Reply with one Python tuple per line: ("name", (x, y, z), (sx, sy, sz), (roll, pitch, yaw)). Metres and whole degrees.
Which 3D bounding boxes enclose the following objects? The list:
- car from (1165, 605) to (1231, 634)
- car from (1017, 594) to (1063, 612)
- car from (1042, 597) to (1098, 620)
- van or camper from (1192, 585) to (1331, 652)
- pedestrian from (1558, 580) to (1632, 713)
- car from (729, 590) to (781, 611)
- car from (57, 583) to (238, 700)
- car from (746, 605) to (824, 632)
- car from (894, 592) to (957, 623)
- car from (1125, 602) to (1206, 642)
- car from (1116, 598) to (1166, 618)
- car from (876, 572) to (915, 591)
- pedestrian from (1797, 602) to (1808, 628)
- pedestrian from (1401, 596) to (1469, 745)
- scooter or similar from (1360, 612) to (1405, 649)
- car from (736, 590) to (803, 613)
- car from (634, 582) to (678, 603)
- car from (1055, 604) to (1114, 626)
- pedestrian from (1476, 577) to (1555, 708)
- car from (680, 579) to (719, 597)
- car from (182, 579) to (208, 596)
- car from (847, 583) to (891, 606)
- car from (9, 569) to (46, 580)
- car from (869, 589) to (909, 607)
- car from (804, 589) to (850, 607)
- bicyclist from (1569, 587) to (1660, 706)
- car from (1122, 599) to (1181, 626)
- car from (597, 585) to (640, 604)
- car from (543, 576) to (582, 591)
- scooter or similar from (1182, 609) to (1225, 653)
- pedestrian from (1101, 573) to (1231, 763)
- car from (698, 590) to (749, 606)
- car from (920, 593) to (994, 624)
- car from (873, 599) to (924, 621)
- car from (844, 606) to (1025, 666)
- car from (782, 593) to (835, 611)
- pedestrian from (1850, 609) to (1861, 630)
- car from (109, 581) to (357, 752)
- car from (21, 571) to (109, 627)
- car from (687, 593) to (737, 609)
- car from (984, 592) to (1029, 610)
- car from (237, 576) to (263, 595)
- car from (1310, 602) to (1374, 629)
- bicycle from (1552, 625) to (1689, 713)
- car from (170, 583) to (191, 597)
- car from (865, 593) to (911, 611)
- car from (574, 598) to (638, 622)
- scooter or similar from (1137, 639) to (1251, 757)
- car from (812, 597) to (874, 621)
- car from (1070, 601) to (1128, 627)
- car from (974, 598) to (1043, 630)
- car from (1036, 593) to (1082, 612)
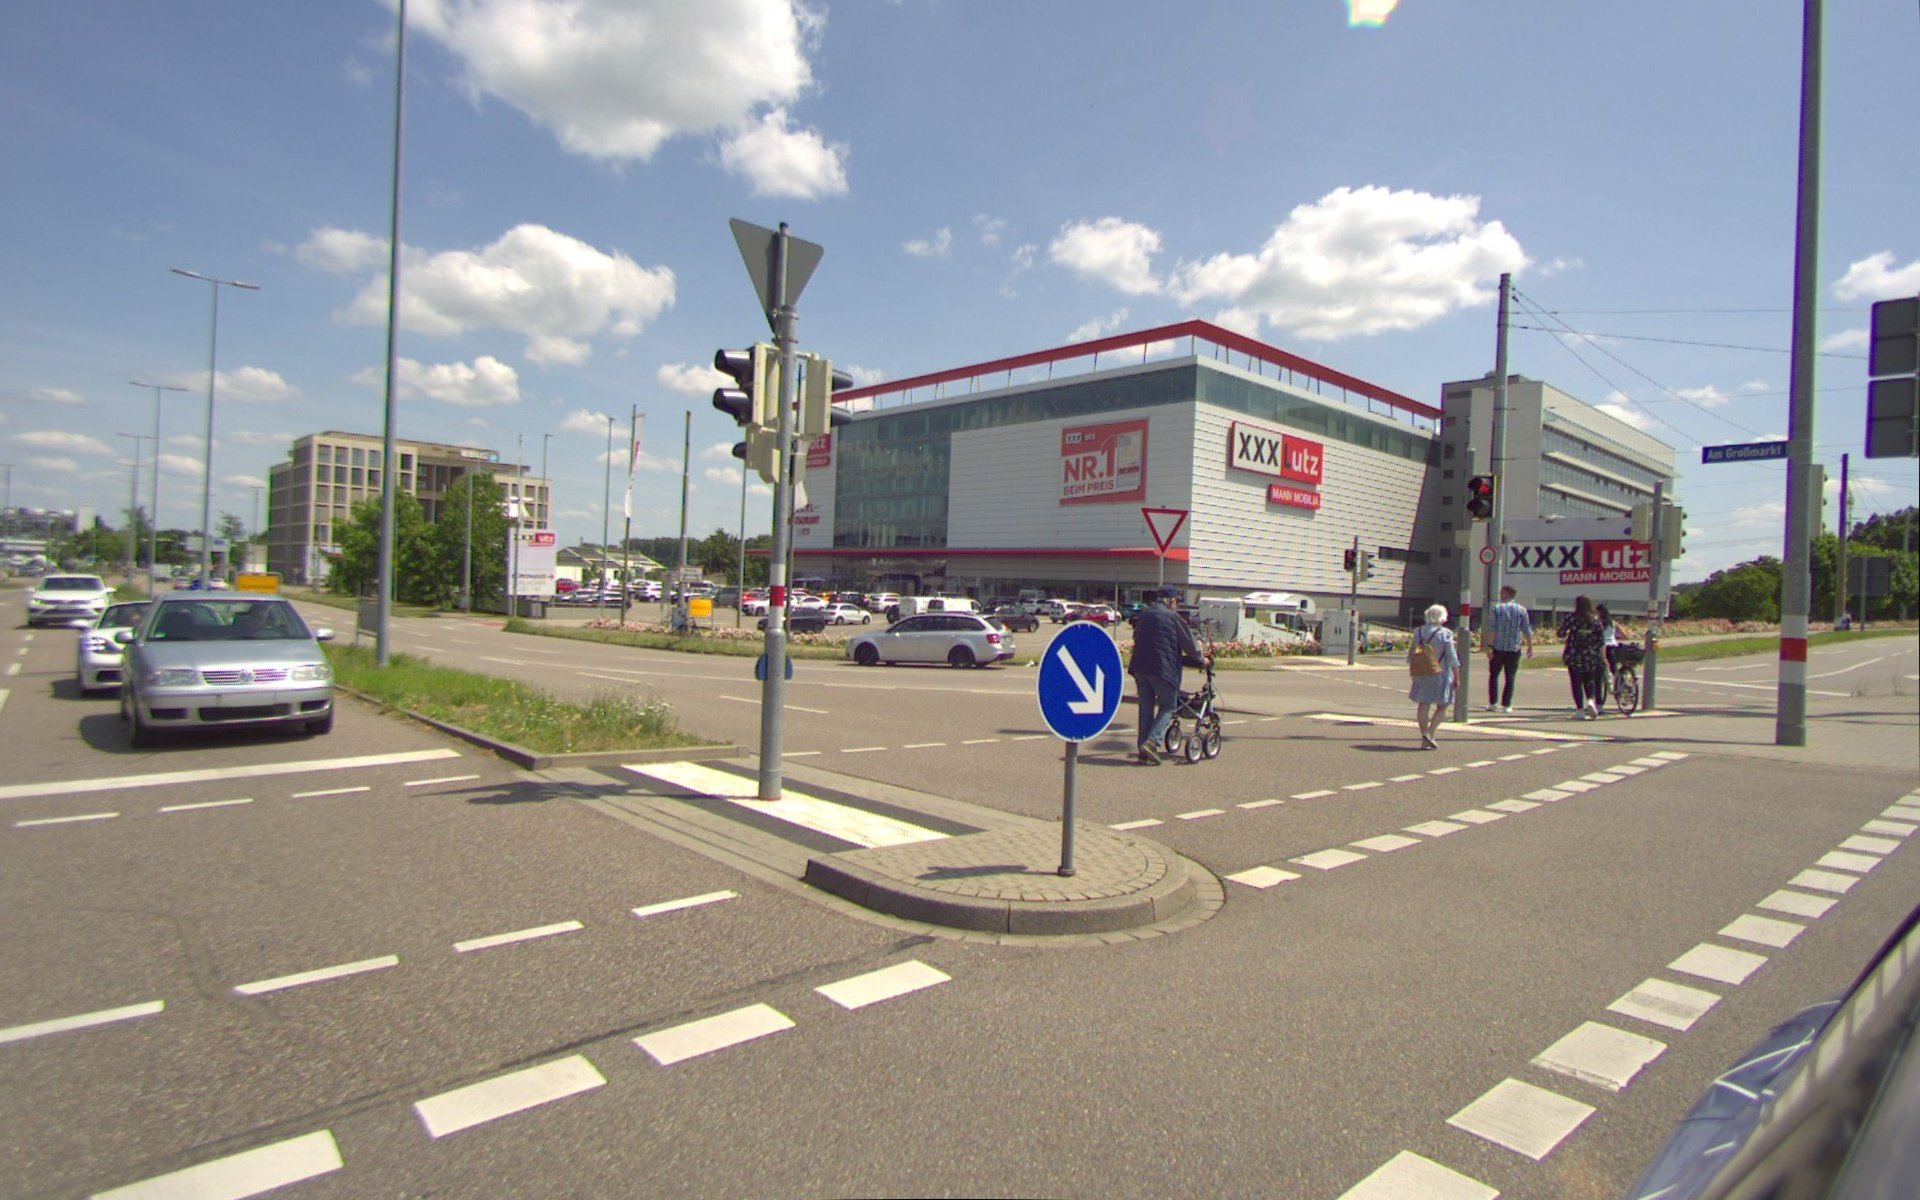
("car", (15.364, 1.216, 65.318), (4.425, 1.739, 1.996), (0, 0, -41))
("car", (7.676, 0.276, 97.194), (4.444, 1.714, 1.995), (1, 0, -44))
("car", (8.691, 0.649, 79.778), (4.441, 1.756, 1.996), (1, 0, -42))
("van or camper", (14.526, 0.814, 48.458), (7.478, 2.983, 2.714), (0, 0, -40))
("pedestrian", (8.825, 0.624, 14.092), (0.798, 1.782, 0.790), (0, 0, 27))
("car", (-17.863, 0.024, 88.353), (4.096, 1.723, 1.852), (1, 0, -40))
("car", (-11.725, 0.498, 14.515), (1.772, 1.416, 4.226), (1, 0, -41))
("car", (-9.616, 1.009, 55.878), (3.875, 1.393, 1.851), (1, 0, -42))
("car", (-2.314, 0.537, 69.205), (3.930, 2.039, 1.997), (2, -1, -41))
("car", (11.176, 1.185, 54.786), (4.373, 2.039, 1.998), (1, 0, -40))
("car", (15.851, 0.668, 88.398), (4.441, 1.714, 1.996), (1, 0, -42))
("car", (-7.302, -2.107, 114.879), (4.211, 2.039, 1.848), (0, 0, -41))
("pedestrian", (59.665, 1.056, 71.672), (0.623, 1.816, 0.517), (2, 0, -43))
("pedestrian", (5.019, 0.711, 10.682), (0.586, 1.495, 0.797), (0, -1, 30))
("scooter or similar", (13.665, 0.980, 32.755), (1.252, 1.140, 0.481), (-3, 0, -14))
("car", (-14.688, 0.136, 78.000), (4.782, 1.724, 1.853), (1, 0, -39))
("car", (-30.209, -0.756, 100.742), (3.931, 2.039, 1.543), (1, 0, -42))
("car", (9.010, 1.109, 72.852), (4.180, 1.430, 1.858), (2, 0, -41))
("pedestrian", (8.292, 0.609, 15.104), (0.783, 1.889, 0.805), (1, -1, -39))
("car", (-30.145, -1.335, 117.141), (3.931, 2.039, 1.996), (1, 0, -42))
("car", (-75.713, -1.215, 100.178), (1.731, 1.632, 3.542), (1, 0, -42))
("car", (-8.185, -0.496, 91.183), (3.542, 2.039, 1.722), (1, 0, -42))
("car", (-139.019, -3.797, 150.959), (1.779, 1.632, 3.666), (1, 0, 22))
("car", (-6.872, -0.158, 98.330), (3.666, 1.622, 1.691), (2, 0, -43))
("car", (-12.722, -0.201, 96.766), (3.930, 1.672, 1.997), (1, 0, -41))
("bicyclist", (9.931, 0.688, 15.382), (0.801, 1.722, 0.799), (2, 0, 0))
("car", (14.120, 0.920, 74.545), (4.441, 1.919, 1.996), (1, 0, -42))
("car", (-36.932, -0.594, 109.574), (3.930, 2.039, 1.997), (1, 0, -42))
("car", (-47.164, -1.903, 120.149), (3.932, 1.750, 1.734), (0, 0, -42))
("scooter or similar", (7.429, 0.946, 30.874), (1.252, 1.307, 0.481), (1, -1, -25))
("pedestrian", (1.958, 0.608, 9.617), (0.929, 1.694, 0.784), (1, 0, -37))
("car", (-21.437, -0.150, 91.764), (4.180, 1.430, 1.858), (1, 0, -40))
("car", (-0.159, 0.575, 67.838), (4.878, 2.039, 1.997), (1, -1, -41))
("car", (-4.350, 0.737, 71.781), (1.690, 1.479, 3.344), (1, 0, 45))
("car", (-0.654, 0.887, 26.447), (4.401, 1.416, 1.793), (1, 0, 18))
("car", (-12.503, 0.186, 83.423), (3.928, 1.457, 1.853), (1, 0, -39))
("pedestrian", (72.339, 1.591, 81.776), (0.623, 1.676, 0.598), (1, 0, -43))
("car", (-7.640, 0.541, 10.528), (1.771, 1.415, 3.832), (1, 0, -39))
("car", (-28.389, -0.065, 32.117), (1.965, 1.660, 4.074), (1, 0, -42))
("car", (-22.990, 0.099, 93.821), (4.180, 1.430, 1.858), (0, 0, -40))
("car", (4.622, 0.108, 100.733), (4.444, 1.714, 1.995), (1, 0, -44))
("car", (-79.300, -1.635, 112.988), (1.965, 2.039, 3.993), (1, 0, -42))
("car", (24.077, 0.991, 63.698), (4.443, 1.583, 1.996), (1, 0, -43))
("bicycle", (9.913, 1.001, 15.284), (0.816, 1.177, 1.878), (2, 0, 0))
("car", (-91.050, -1.201, 118.199), (1.731, 1.632, 3.542), (1, 0, -42))
("car", (-6.343, 0.150, 89.283), (3.932, 1.546, 1.691), (1, 0, -43))
("car", (-26.464, 0.758, 75.724), (4.056, 1.705, 1.994), (1, 0, -45))
("scooter or similar", (2.283, 0.922, 9.862), (0.847, 1.044, 0.691), (1, 0, -37))
("car", (-7.841, 0.613, 68.196), (1.848, 1.566, 3.938), (0, 0, 43))
("car", (10.706, 1.027, 77.698), (4.441, 1.919, 1.997), (1, 0, -41))
("car", (3.090, 0.897, 63.863), (4.408, 1.936, 1.589), (1, 0, -40))
("car", (9.373, 0.224, 95.594), (4.444, 1.714, 1.995), (1, 0, -44))
